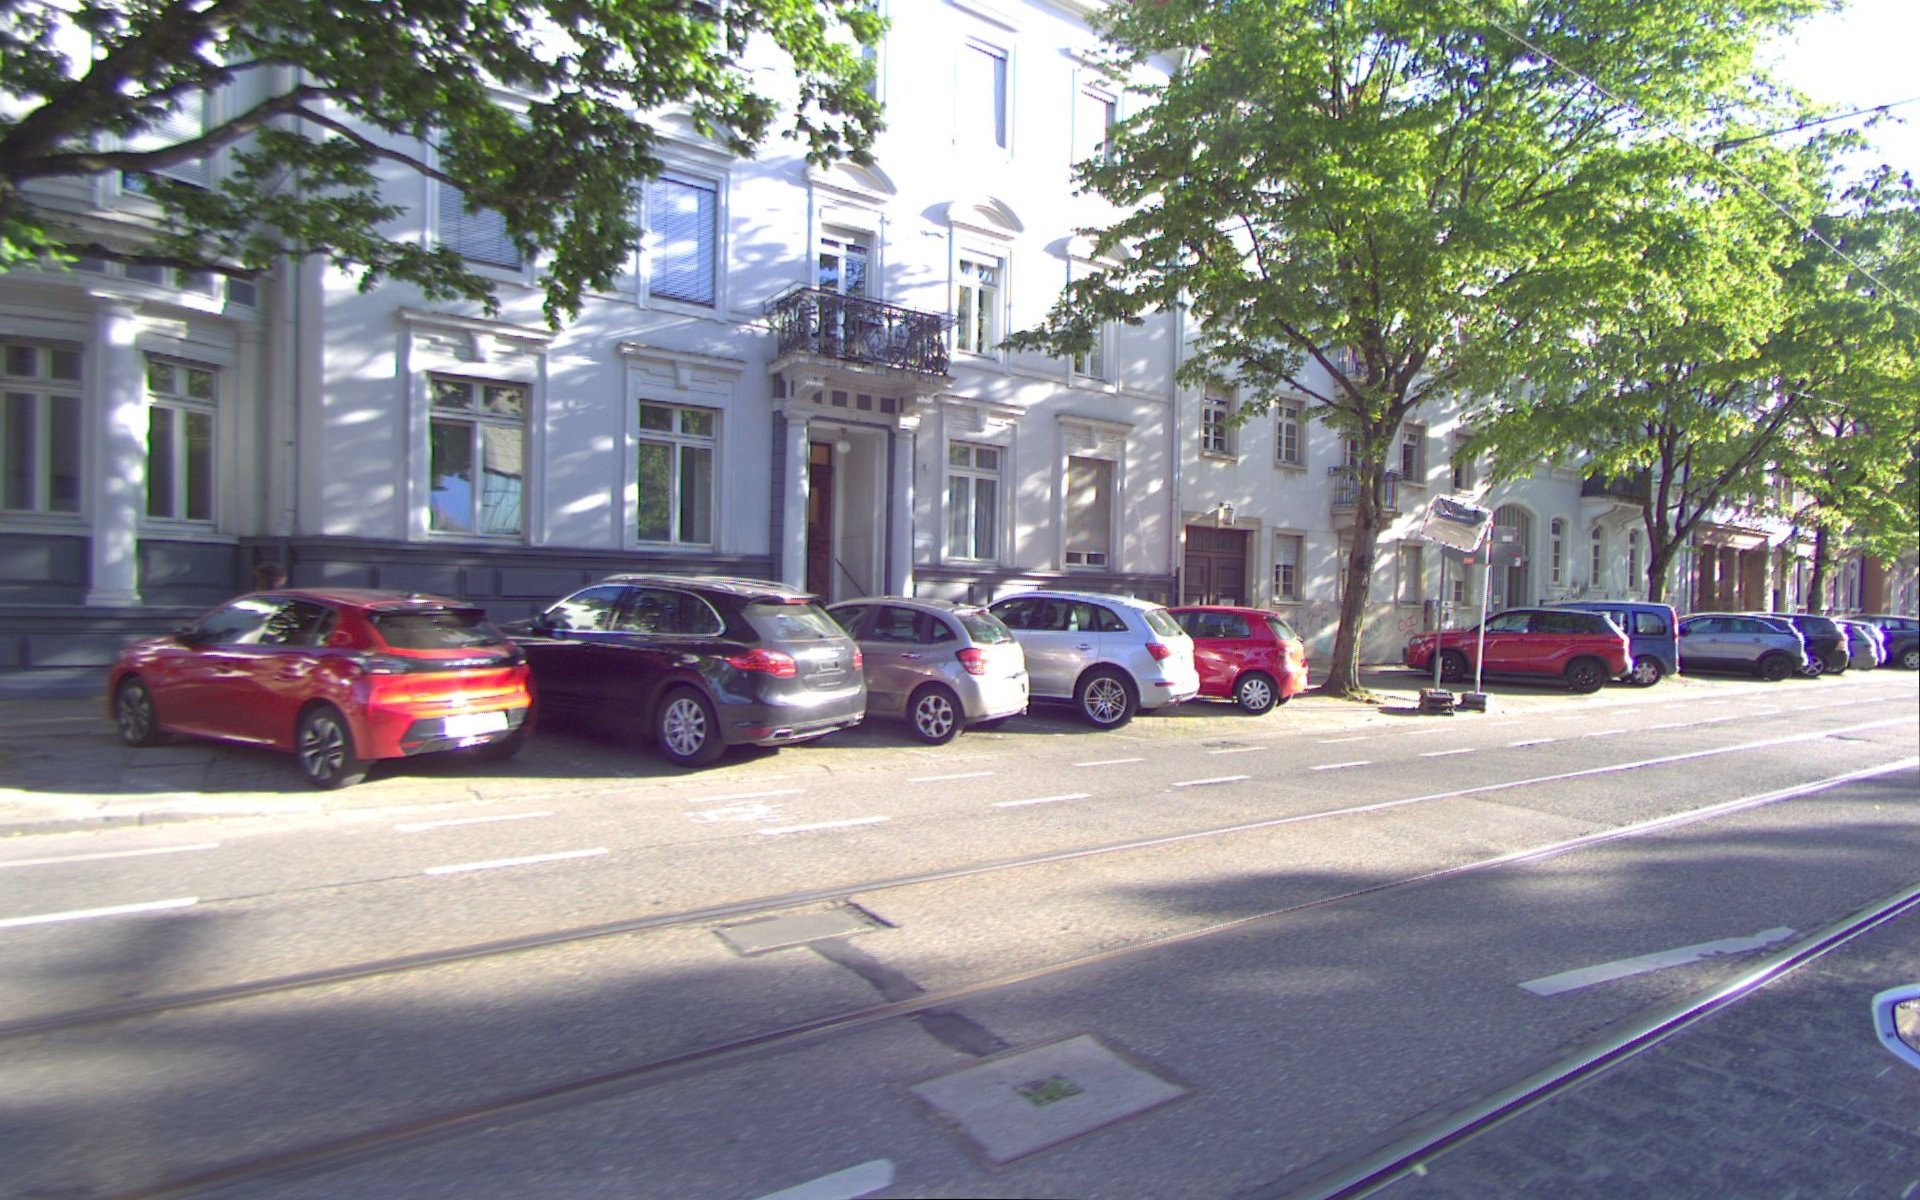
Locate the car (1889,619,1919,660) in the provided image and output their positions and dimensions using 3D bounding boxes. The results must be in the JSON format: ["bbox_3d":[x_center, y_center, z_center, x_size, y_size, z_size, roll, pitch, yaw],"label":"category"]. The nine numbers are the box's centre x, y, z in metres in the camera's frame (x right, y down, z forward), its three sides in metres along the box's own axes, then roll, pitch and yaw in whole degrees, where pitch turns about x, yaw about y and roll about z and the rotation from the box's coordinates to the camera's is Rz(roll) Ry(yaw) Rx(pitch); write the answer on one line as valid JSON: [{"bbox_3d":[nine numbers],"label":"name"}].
[{"bbox_3d":[39.035,1.591,39.677,3.227,1.606,1.465,1,0,35],"label":"car"}]

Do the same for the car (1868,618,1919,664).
[{"bbox_3d":[35.393,1.517,36.598,3.227,1.606,1.465,1,0,35],"label":"car"}]

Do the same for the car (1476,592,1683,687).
[{"bbox_3d":[13.918,0.826,22.831,3.769,1.856,1.730,3,1,27],"label":"car"}]

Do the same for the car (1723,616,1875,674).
[{"bbox_3d":[24.354,1.268,29.294,3.227,1.504,1.466,1,0,35],"label":"car"}]

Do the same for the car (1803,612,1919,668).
[{"bbox_3d":[30.247,1.305,33.398,3.227,1.721,1.465,1,0,35],"label":"car"}]

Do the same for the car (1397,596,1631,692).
[{"bbox_3d":[11.444,0.846,20.962,4.098,1.744,1.581,2,0,29],"label":"car"}]

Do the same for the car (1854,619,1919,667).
[{"bbox_3d":[33.394,1.514,34.928,3.227,1.606,1.465,1,0,35],"label":"car"}]

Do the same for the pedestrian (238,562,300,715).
[{"bbox_3d":[-7.341,0.403,10.685,0.506,1.593,0.343,1,0,-30],"label":"pedestrian"}]

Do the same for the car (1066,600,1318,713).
[{"bbox_3d":[3.590,0.808,15.523,3.614,1.548,1.483,1,0,21],"label":"car"}]

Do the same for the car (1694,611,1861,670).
[{"bbox_3d":[22.327,1.067,27.586,3.322,1.438,1.403,1,0,29],"label":"car"}]

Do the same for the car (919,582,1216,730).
[{"bbox_3d":[1.437,0.657,13.332,3.614,1.744,1.611,1,0,21],"label":"car"}]

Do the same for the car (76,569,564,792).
[{"bbox_3d":[-5.518,0.557,8.657,3.838,1.472,1.637,3,1,23],"label":"car"}]

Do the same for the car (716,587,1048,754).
[{"bbox_3d":[-0.910,0.727,11.877,3.498,1.684,1.737,1,0,24],"label":"car"}]

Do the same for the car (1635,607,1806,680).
[{"bbox_3d":[19.636,1.090,26.092,3.322,1.720,1.403,1,0,29],"label":"car"}]

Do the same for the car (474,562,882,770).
[{"bbox_3d":[-2.752,0.540,9.870,3.614,1.744,1.611,1,0,21],"label":"car"}]
